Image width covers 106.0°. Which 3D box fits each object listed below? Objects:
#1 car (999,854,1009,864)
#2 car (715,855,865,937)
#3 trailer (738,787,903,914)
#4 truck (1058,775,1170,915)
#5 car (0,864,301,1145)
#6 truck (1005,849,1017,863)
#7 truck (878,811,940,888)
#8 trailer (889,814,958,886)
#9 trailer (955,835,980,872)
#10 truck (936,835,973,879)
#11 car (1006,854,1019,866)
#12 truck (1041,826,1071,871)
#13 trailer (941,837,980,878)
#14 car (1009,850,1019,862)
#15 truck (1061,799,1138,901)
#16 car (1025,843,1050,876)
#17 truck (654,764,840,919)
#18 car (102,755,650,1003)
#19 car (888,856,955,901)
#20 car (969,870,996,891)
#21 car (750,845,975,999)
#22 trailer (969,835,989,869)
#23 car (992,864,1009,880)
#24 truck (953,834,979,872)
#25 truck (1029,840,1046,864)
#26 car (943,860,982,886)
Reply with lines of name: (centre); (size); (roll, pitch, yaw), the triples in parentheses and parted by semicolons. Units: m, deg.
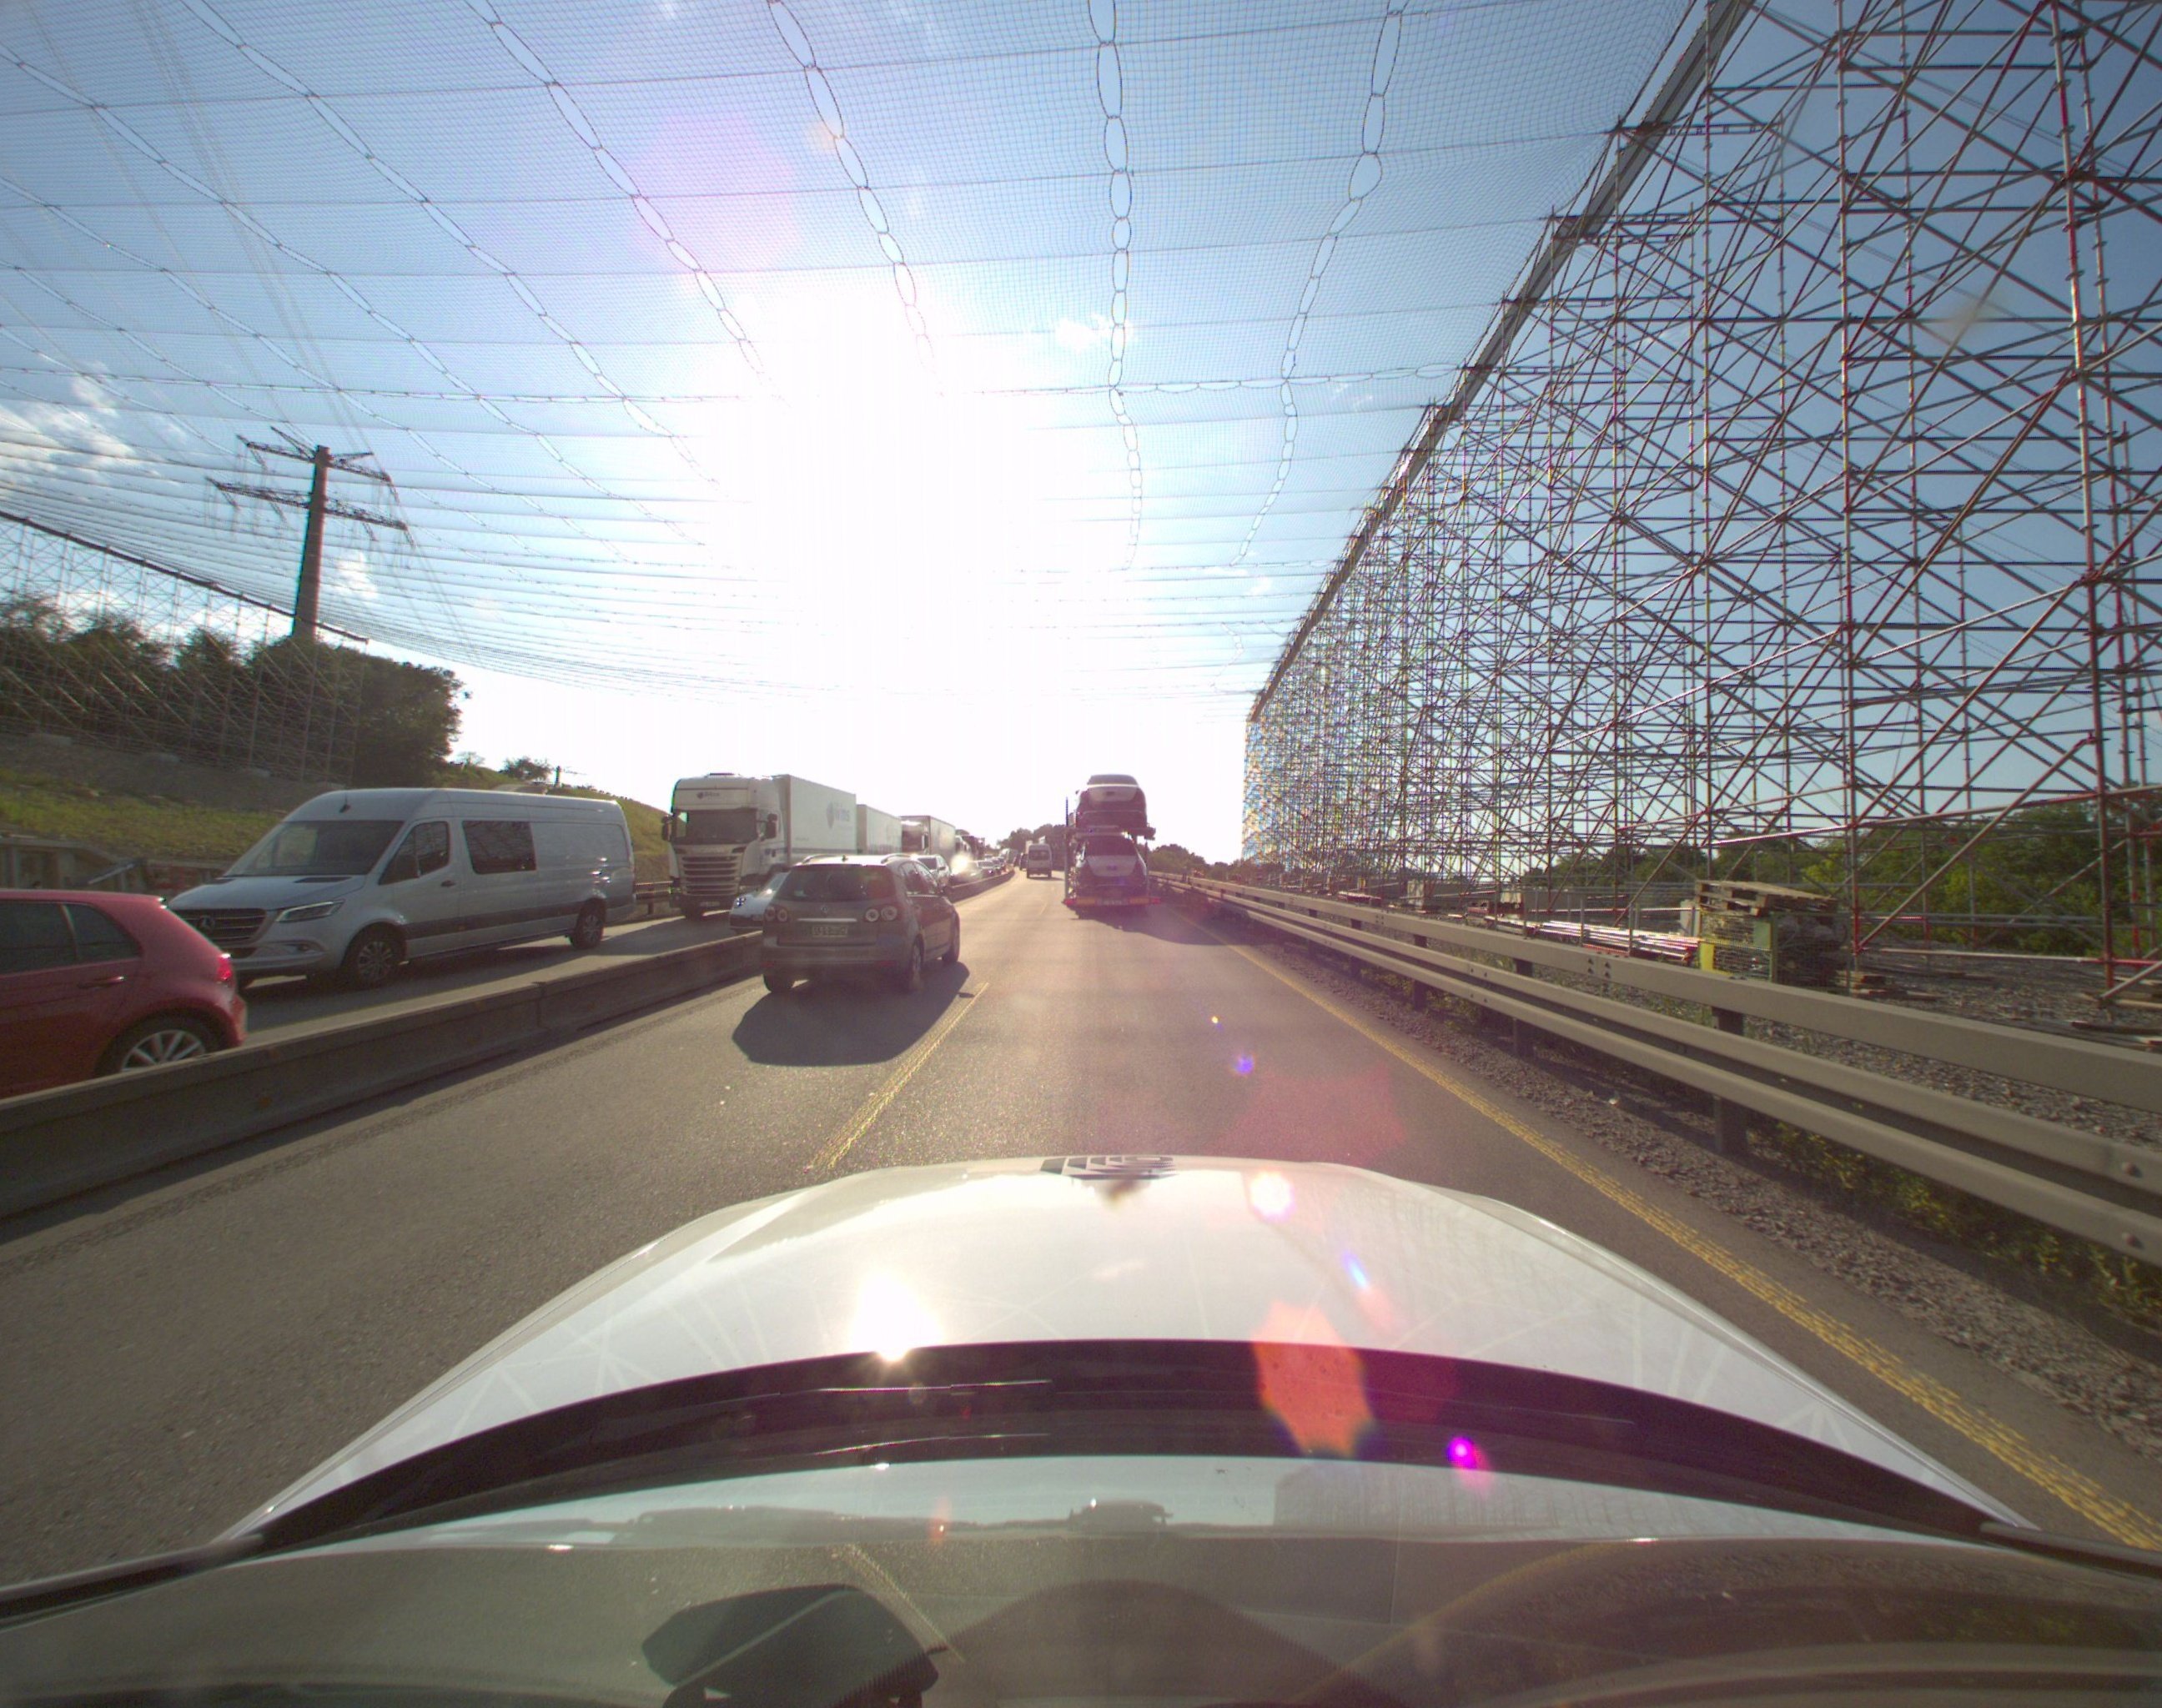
car: (-15.627, 1.040, 165.680); (1.834, 1.836, 3.993); (0, -1, -4)
car: (-6.184, 0.820, 17.852); (1.803, 1.568, 4.363); (0, -1, -2)
trailer: (-9.737, -0.061, 32.542); (2.663, 4.016, 13.323); (0, -1, -2)
truck: (0.835, -0.190, 25.805); (2.790, 3.497, 10.603); (0, -1, 0)
car: (-6.396, 0.765, 3.430); (1.802, 1.419, 4.519); (0, -1, 1)
truck: (-15.838, 0.501, 185.748); (2.586, 3.170, 6.666); (0, -1, -4)
truck: (-9.511, -0.230, 45.510); (2.468, 4.046, 5.611); (0, -1, -3)
trailer: (-9.856, -0.165, 52.484); (2.422, 3.963, 14.081); (0, -1, -3)
trailer: (-12.334, -0.032, 89.471); (2.304, 3.790, 12.026); (0, -1, -6)
truck: (-10.269, 0.247, 66.531); (2.408, 3.370, 5.610); (0, -1, -3)
car: (-9.952, 0.849, 117.637); (1.824, 1.772, 3.992); (0, -1, -6)
truck: (-3.225, -0.599, 100.592); (3.280, 5.237, 9.920); (0, -1, -4)
trailer: (-10.653, 0.319, 72.955); (2.302, 3.362, 12.037); (0, -1, -3)
car: (-11.318, 0.381, 137.549); (1.628, 2.014, 3.989); (0, -1, -7)
truck: (0.681, -0.107, 35.227); (2.829, 3.792, 9.984); (0, -1, 0)
car: (-3.478, 0.448, 64.650); (1.917, 2.492, 5.401); (0, -1, -4)
truck: (-9.505, -0.291, 24.172); (2.623, 3.910, 7.201); (0, -1, -1)
car: (-9.632, 0.300, 12.517); (2.234, 2.713, 7.081); (0, -1, 0)
car: (-6.029, 0.888, 31.233); (1.803, 1.568, 4.363); (0, -1, -2)
car: (-6.931, 1.828, 57.371); (1.603, 1.376, 3.896); (0, -1, -3)
car: (-2.558, 0.731, 10.538); (1.685, 1.596, 4.002); (0, -1, 2)
trailer: (-13.411, -0.188, 107.036); (2.473, 4.328, 10.485); (0, -1, -7)
car: (-8.588, 1.902, 86.859); (1.748, 1.587, 3.935); (0, -1, -5)
truck: (-11.739, -0.090, 83.421); (2.429, 3.785, 5.606); (0, -1, -6)
truck: (-7.116, -0.294, 132.046); (2.527, 3.648, 8.889); (0, -1, -5)
car: (-6.890, 1.100, 47.882); (1.773, 1.450, 4.659); (0, -1, -2)
